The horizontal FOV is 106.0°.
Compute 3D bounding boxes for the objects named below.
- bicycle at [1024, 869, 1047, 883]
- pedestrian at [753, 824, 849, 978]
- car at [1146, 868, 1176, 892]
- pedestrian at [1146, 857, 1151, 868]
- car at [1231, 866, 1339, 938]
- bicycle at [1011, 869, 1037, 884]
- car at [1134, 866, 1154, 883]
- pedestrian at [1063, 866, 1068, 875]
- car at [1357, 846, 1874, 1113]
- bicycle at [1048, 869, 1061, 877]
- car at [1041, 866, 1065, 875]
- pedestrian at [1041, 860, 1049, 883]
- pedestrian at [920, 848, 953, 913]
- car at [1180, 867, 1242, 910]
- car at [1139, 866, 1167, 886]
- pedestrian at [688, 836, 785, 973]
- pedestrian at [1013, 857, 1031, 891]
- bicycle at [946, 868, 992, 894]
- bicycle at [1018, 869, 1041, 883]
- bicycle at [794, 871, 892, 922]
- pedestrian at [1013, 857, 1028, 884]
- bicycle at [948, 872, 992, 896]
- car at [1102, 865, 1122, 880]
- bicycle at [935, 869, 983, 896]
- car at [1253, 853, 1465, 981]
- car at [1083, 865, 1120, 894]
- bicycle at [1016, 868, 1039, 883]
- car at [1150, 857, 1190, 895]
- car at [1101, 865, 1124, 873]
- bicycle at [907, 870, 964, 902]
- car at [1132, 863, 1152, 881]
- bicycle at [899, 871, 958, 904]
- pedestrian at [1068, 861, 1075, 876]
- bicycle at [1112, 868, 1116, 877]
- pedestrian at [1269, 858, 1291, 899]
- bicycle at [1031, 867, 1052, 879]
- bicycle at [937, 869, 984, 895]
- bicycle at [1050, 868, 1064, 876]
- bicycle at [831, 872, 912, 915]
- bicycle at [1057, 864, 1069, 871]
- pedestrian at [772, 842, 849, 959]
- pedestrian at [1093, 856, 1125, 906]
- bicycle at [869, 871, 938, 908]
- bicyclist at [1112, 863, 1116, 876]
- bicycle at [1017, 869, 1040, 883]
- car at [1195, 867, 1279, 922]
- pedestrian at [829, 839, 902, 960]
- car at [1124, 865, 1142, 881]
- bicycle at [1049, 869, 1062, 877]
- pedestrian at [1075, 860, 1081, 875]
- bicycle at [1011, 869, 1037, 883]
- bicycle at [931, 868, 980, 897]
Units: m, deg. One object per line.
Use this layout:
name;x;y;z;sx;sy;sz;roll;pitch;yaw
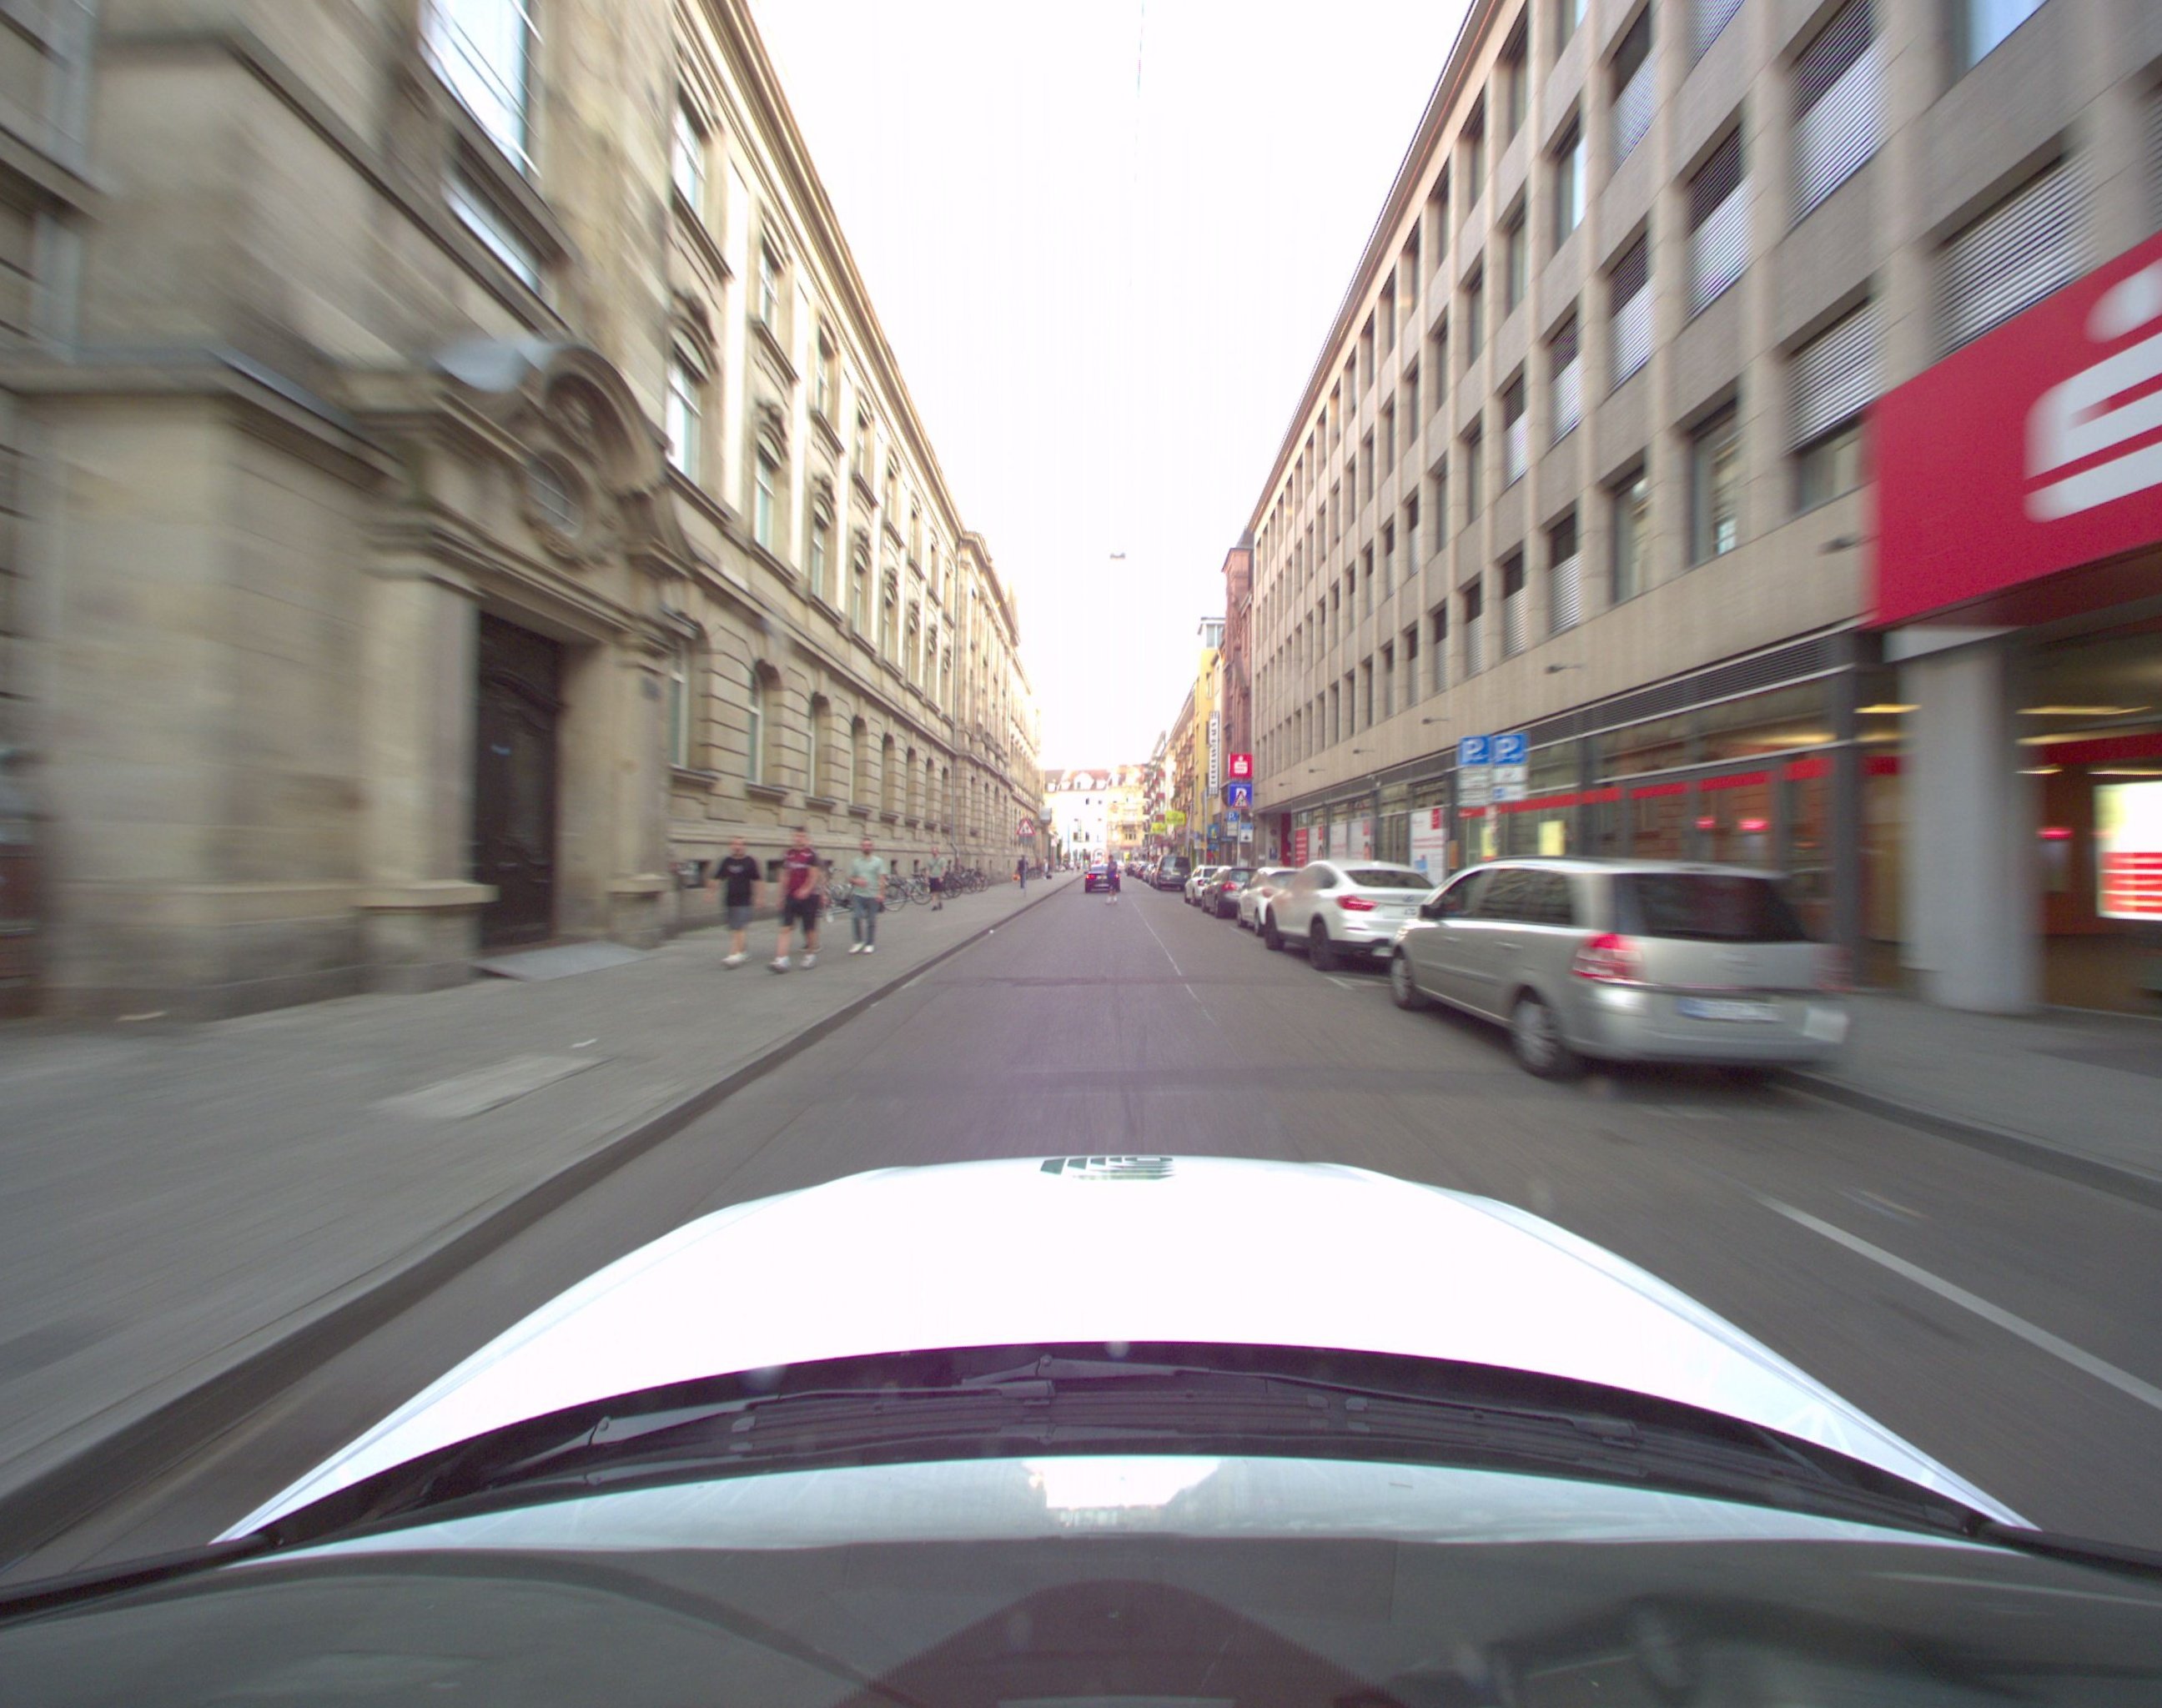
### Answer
bicycle;-3.818;1.859;68.633;1.931;1.062;0.619;2;-2;-1
pedestrian;-3.544;0.579;10.382;0.712;1.830;0.872;3;-1;9
car;5.292;1.692;54.285;1.680;1.453;4.501;2;0;3
pedestrian;10.724;1.338;129.811;0.645;1.661;0.794;-3;-1;3
car;4.566;1.027;18.749;1.650;1.448;3.871;1;-1;2
bicycle;-4.364;1.724;62.118;1.930;1.061;0.619;2;-2;0
car;5.941;1.908;77.420;1.685;1.415;4.759;2;0;2
pedestrian;-2.416;2.557;126.819;0.504;1.479;0.516;1;-1;25
car;4.133;0.800;7.444;1.733;1.598;4.716;2;0;2
bicycle;-3.554;2.596;110.270;1.788;1.108;0.500;0;-1;0
car;-4.728;2.745;139.393;3.983;1.501;1.887;0;-1;-7
pedestrian;-2.958;1.436;66.852;0.587;1.851;0.753;2;-1;-4
pedestrian;-4.067;0.749;22.938;0.714;1.780;0.801;2;-1;2
car;4.753;1.250;30.268;1.651;1.448;4.308;1;-1;1
car;5.698;1.753;64.568;1.686;1.411;4.637;2;0;-1
pedestrian;-4.390;0.628;10.430;0.751;1.642;0.750;3;-1;9
pedestrian;-3.121;1.042;43.171;0.806;1.751;0.969;1;-2;1
bicycle;-5.073;1.218;36.850;1.930;1.078;0.748;2;-2;0
bicycle;-4.278;1.823;67.599;1.933;1.061;0.619;2;-2;-5
bicycle;-5.491;0.976;18.869;2.015;1.109;0.729;2;-2;-5
pedestrian;-3.939;1.080;52.999;0.825;1.746;0.769;2;-1;2
bicycle;-5.125;1.392;37.767;1.931;1.046;0.721;1;-1;-3
car;3.259;1.866;84.421;1.868;1.473;4.006;0;-1;5
bicycle;-5.193;1.197;34.814;1.934;1.078;0.729;2;-2;-6
car;4.221;0.889;13.269;1.770;1.666;4.811;1;-1;-1
car;1.104;1.293;42.508;1.758;1.375;4.793;1;0;2
bicycle;-4.291;1.742;65.586;1.791;1.108;0.499;2;-2;-5
car;5.081;1.265;47.203;1.840;2.058;5.054;1;-1;1
car;6.378;3.044;165.259;4.312;1.562;1.879;-1;-2;24
bicycle;-5.328;1.167;29.874;1.934;1.078;0.729;2;-2;-6
car;6.125;1.800;82.390;1.745;1.668;4.759;2;0;2
bicycle;-5.347;1.164;28.684;1.934;1.078;0.729;2;-2;-6
pedestrian;-1.185;1.769;100.626;0.738;1.813;1.009;2;-1;1
bicycle;4.425;2.488;108.967;0.534;1.108;1.802;1;-1;4
pedestrian;7.949;0.971;32.556;0.646;1.636;0.650;-1;-1;0
bicycle;-3.941;1.930;81.507;1.939;1.061;0.617;4;-2;-14
bicycle;-5.240;1.210;35.587;1.934;1.078;0.729;2;-2;-6
bicycle;-3.306;2.476;112.445;1.786;1.108;0.501;1;-1;4
bicycle;-5.574;1.047;21.667;2.024;1.078;0.726;3;-2;-18
bicycle;-2.861;2.100;130.014;1.790;1.108;0.499;2;-1;-4
pedestrian;-4.052;0.678;12.264;0.726;1.668;0.859;3;-1;4
pedestrian;1.024;0.966;29.721;0.825;1.789;0.769;0;-1;-41
bicycle;-5.463;1.086;25.201;1.932;1.078;0.730;2;-2;-2
bicyclist;4.428;2.085;108.955;0.521;1.757;0.620;1;-1;3
bicycle;-4.309;1.778;66.786;1.791;1.108;0.499;2;-2;-5
car;4.534;1.152;24.296;1.651;1.448;4.444;1;-1;0
pedestrian;-3.273;0.671;12.445;0.722;1.742;0.840;3;-1;4
car;5.889;2.090;91.642;1.785;1.610;4.494;2;0;6
bicycle;-3.436;2.589;109.922;1.787;1.108;0.500;0;-1;1
pedestrian;-0.362;1.671;100.808;0.741;1.894;1.051;1;-1;2
bicycle;-4.446;1.734;63.368;1.933;1.061;0.619;2;-2;-5
bicycle;-5.146;1.170;33.498;1.934;1.078;0.729;2;-2;-6
